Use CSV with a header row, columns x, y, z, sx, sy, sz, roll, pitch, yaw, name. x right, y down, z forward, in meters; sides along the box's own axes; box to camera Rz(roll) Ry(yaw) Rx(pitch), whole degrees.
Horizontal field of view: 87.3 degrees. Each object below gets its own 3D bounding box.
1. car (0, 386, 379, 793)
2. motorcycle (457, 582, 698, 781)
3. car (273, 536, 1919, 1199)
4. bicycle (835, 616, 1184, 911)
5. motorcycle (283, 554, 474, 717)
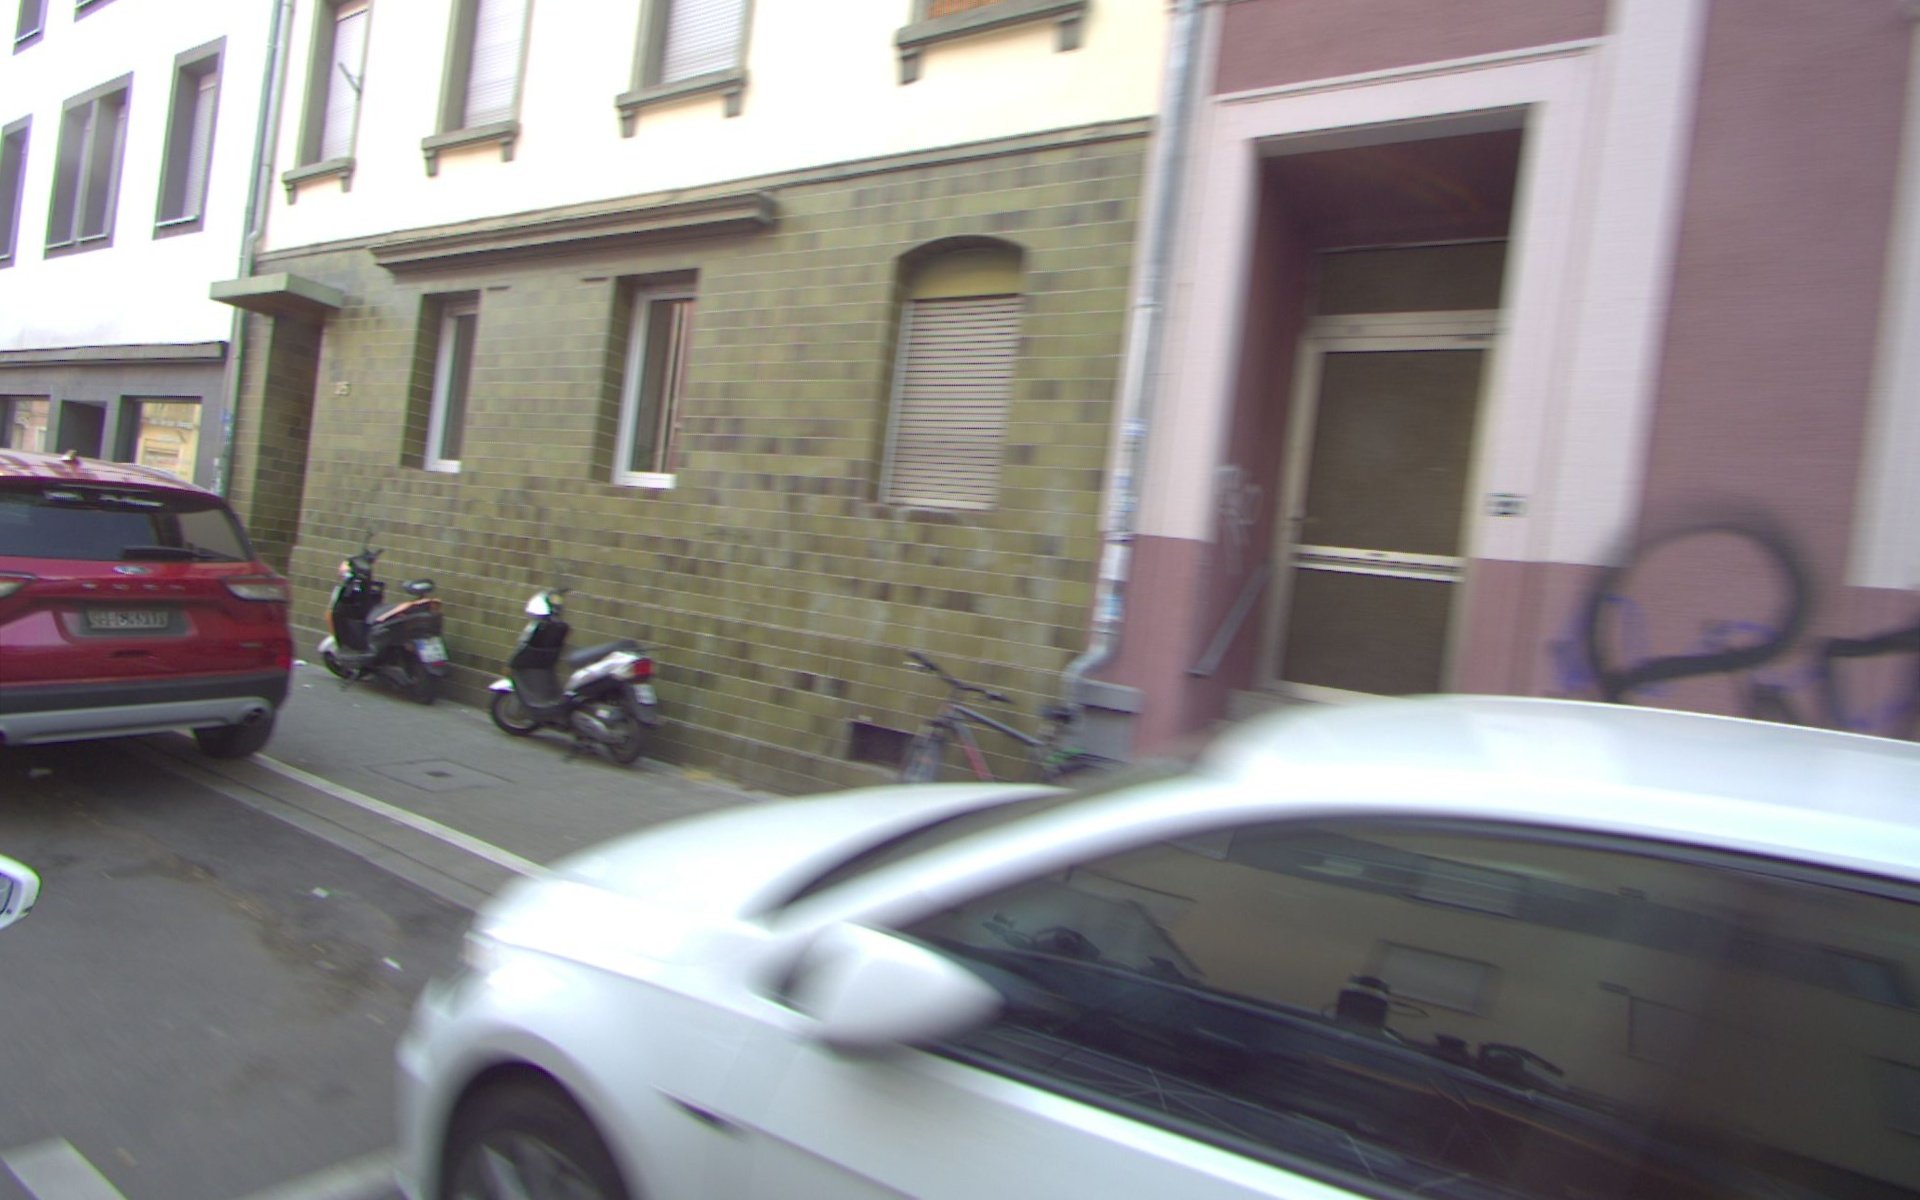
x,y,z,sx,sy,sz,roll,pitch,yaw,name
-5.613,-0.219,5.848,4.293,1.727,1.921,7,0,31,car
-2.704,0.515,7.039,1.746,1.110,0.558,7,3,31,motorcycle
0.764,0.885,1.749,3.978,1.564,1.687,7,2,31,car
0.225,0.786,5.295,1.657,1.187,0.522,7,-1,31,bicycle
-4.879,0.260,8.391,1.847,1.110,0.501,7,3,31,motorcycle
